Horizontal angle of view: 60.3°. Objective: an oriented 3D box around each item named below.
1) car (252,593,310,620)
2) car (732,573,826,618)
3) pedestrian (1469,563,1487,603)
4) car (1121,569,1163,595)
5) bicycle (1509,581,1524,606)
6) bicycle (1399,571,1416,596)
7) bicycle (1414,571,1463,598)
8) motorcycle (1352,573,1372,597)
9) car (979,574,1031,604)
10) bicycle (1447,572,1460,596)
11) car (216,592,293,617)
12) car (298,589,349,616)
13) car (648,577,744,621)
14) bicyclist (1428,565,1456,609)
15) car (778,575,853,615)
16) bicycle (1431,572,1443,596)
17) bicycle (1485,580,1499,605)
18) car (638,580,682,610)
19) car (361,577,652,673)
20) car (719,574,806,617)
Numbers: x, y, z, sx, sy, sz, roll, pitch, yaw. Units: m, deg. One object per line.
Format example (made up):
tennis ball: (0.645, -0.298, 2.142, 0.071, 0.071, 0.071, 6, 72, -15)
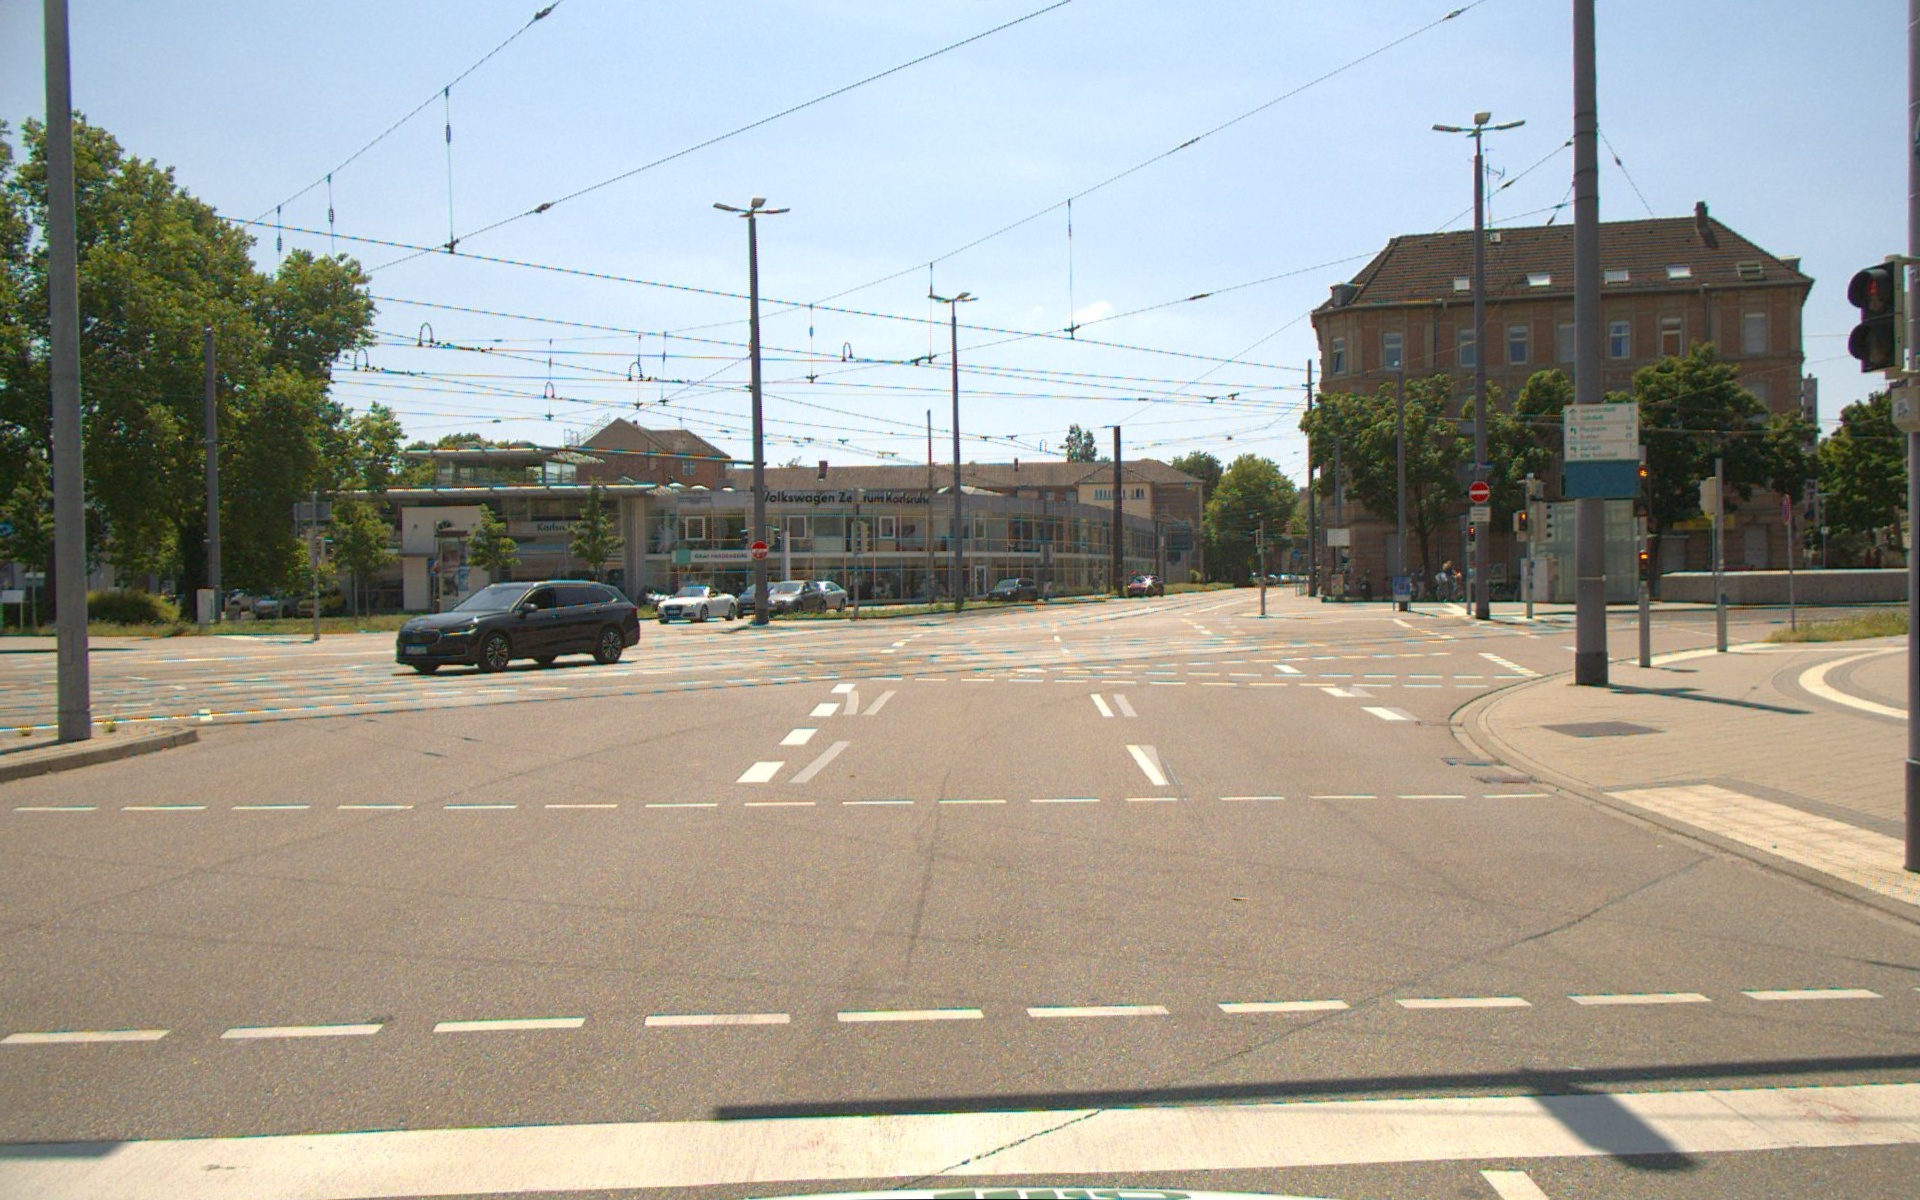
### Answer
car: (-41.367, 0.359, 100.911, 1.731, 1.536, 4.327, -1, 1, 0)
car: (-6.988, -0.216, 64.450, 1.951, 1.666, 4.850, -1, 1, 16)
pedestrian: (22.741, -0.740, 72.586, 0.454, 1.738, 0.636, -1, 0, -22)
car: (13.367, -1.336, 121.404, 1.953, 1.807, 3.998, 1, 0, 24)
bicycle: (26.587, -0.326, 79.082, 0.539, 1.139, 1.931, -1, 1, 15)
bicycle: (21.595, -0.785, 79.837, 0.433, 1.166, 2.095, 1, 0, 6)
bicycle: (20.108, -0.659, 69.526, 2.079, 1.071, 0.687, -1, 0, -26)
motorcycle: (19.296, -0.719, 79.456, 0.568, 1.093, 1.947, -1, 1, 3)
car: (2.801, -0.693, 101.449, 2.034, 1.712, 4.850, -1, 1, 16)
bicycle: (23.548, -0.769, 78.951, 0.539, 1.139, 1.822, -1, 1, 15)
car: (-45.356, 0.263, 106.399, 4.279, 1.536, 1.750, -1, 1, -36)
car: (-38.712, 0.125, 100.713, 1.732, 1.536, 4.322, -1, 1, -5)
car: (-10.169, -0.079, 64.090, 2.032, 1.607, 4.851, -1, 1, 13)
bicyclist: (20.267, -0.534, 69.535, 1.047, 1.839, 0.475, 1, -1, -26)
car: (-6.666, -0.268, 76.794, 1.951, 1.770, 4.546, -1, 1, 16)
bicycle: (22.818, -0.775, 79.119, 0.539, 1.139, 1.821, -1, 1, 16)
bicycle: (25.484, -0.360, 79.213, 0.539, 1.139, 1.872, -1, 1, 15)
car: (-18.075, -0.262, 99.821, 1.881, 1.737, 4.000, 1, 0, 0)
car: (-7.800, 0.380, 28.923, 1.958, 1.491, 4.832, -1, 1, 34)
car: (-8.332, -0.217, 70.257, 1.951, 1.730, 4.850, -1, 1, 16)
